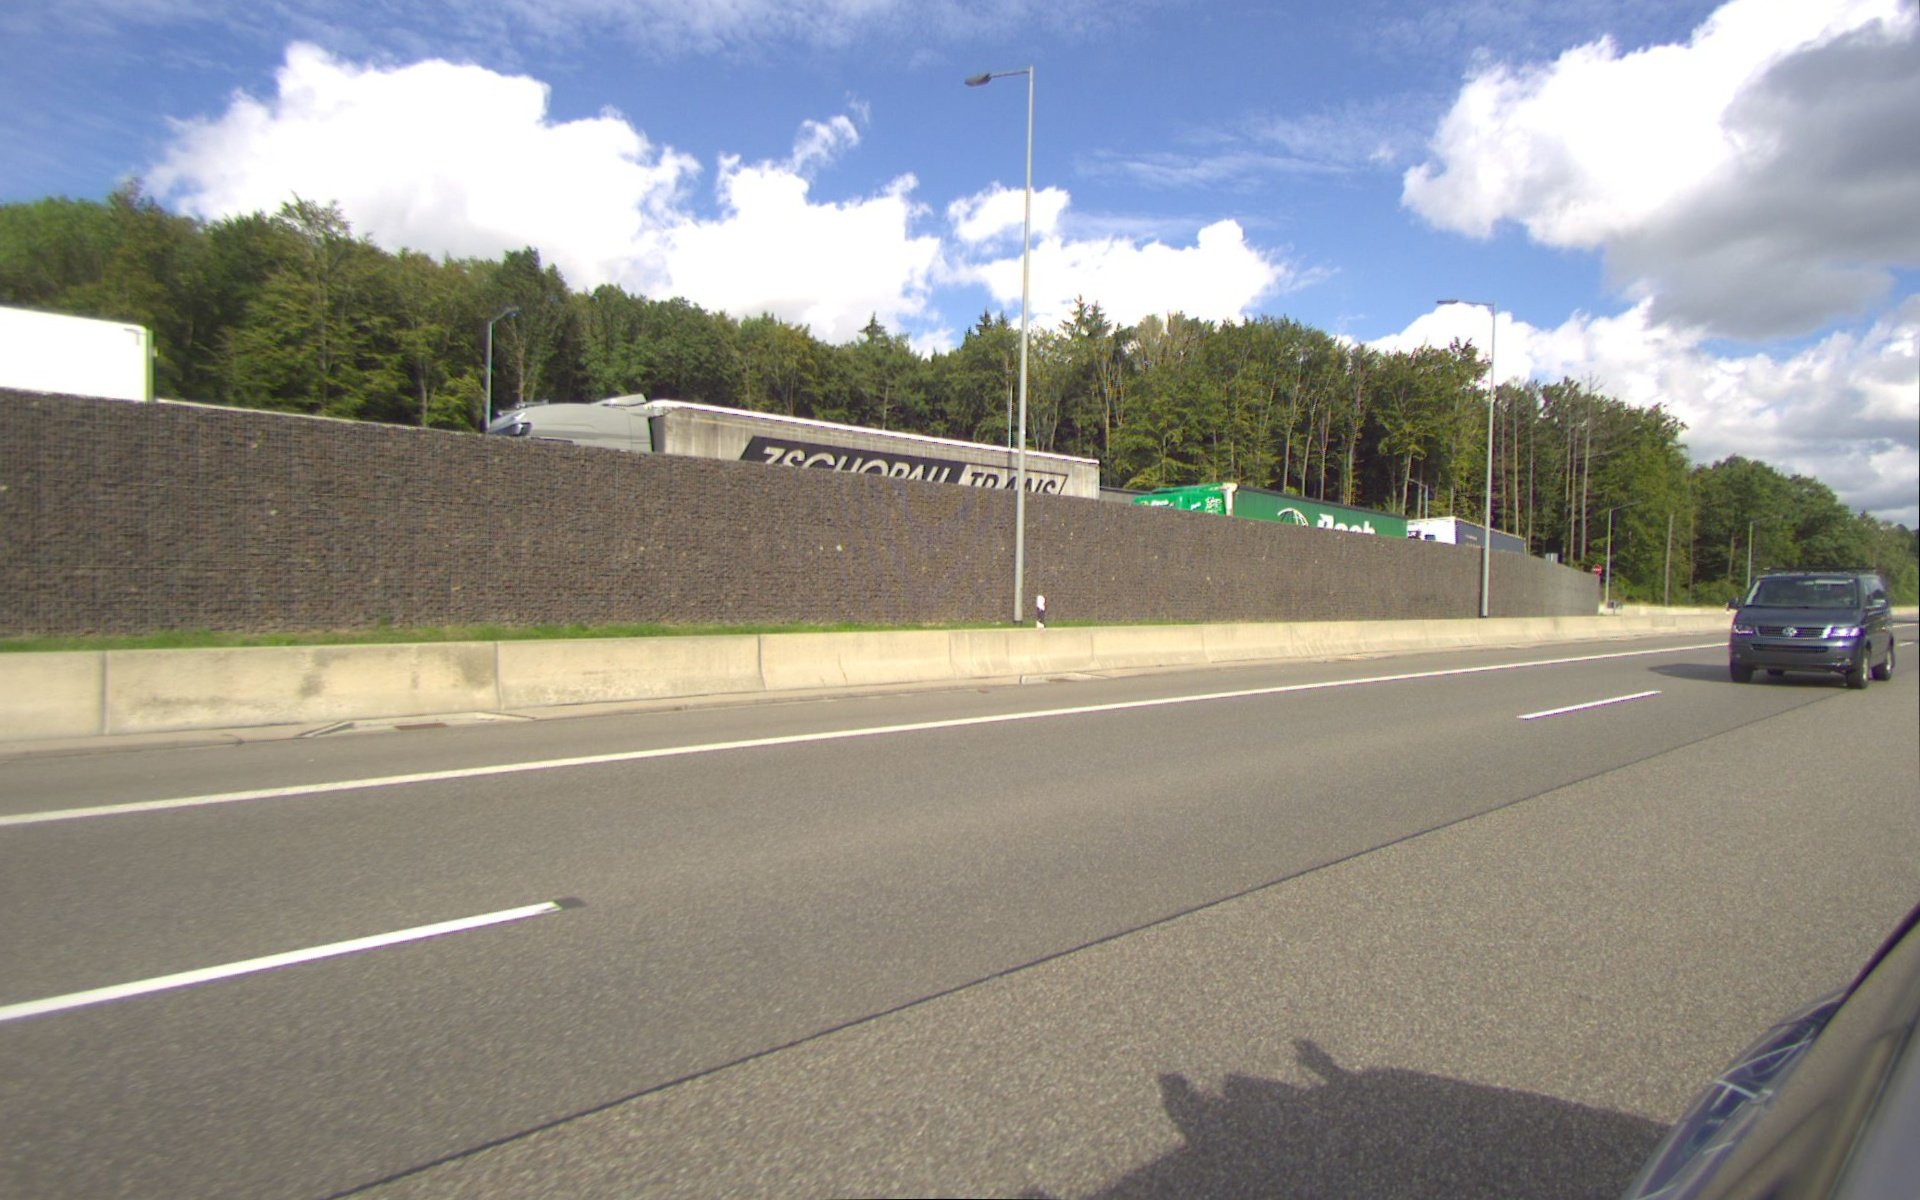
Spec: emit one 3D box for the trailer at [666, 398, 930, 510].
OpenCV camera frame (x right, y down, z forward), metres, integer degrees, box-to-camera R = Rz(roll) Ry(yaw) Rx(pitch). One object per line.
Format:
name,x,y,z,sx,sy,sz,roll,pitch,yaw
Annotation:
trailer,-3.629,-3.268,23.674,5.903,2.038,2.048,-3,2,-41

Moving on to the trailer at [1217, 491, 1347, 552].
trailer,12.079,-2.864,37.730,5.677,2.038,1.997,-3,2,-41

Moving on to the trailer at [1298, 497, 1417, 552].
trailer,16.388,-3.044,41.559,6.087,2.038,1.997,-3,2,-41

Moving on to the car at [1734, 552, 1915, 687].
car,16.113,0.264,18.769,4.876,2.192,1.925,-1,1,-42

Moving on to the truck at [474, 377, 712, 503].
truck,-7.339,-3.096,20.429,4.026,2.038,2.048,-3,2,-41

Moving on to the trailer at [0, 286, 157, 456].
trailer,-15.096,-3.377,13.974,6.211,2.038,2.134,0,2,-41

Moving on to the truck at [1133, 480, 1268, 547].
truck,8.227,-2.863,34.411,4.697,2.038,2.049,-3,2,-40

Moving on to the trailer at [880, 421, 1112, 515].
trailer,1.168,-3.492,27.881,6.845,2.038,2.054,-3,2,-41
